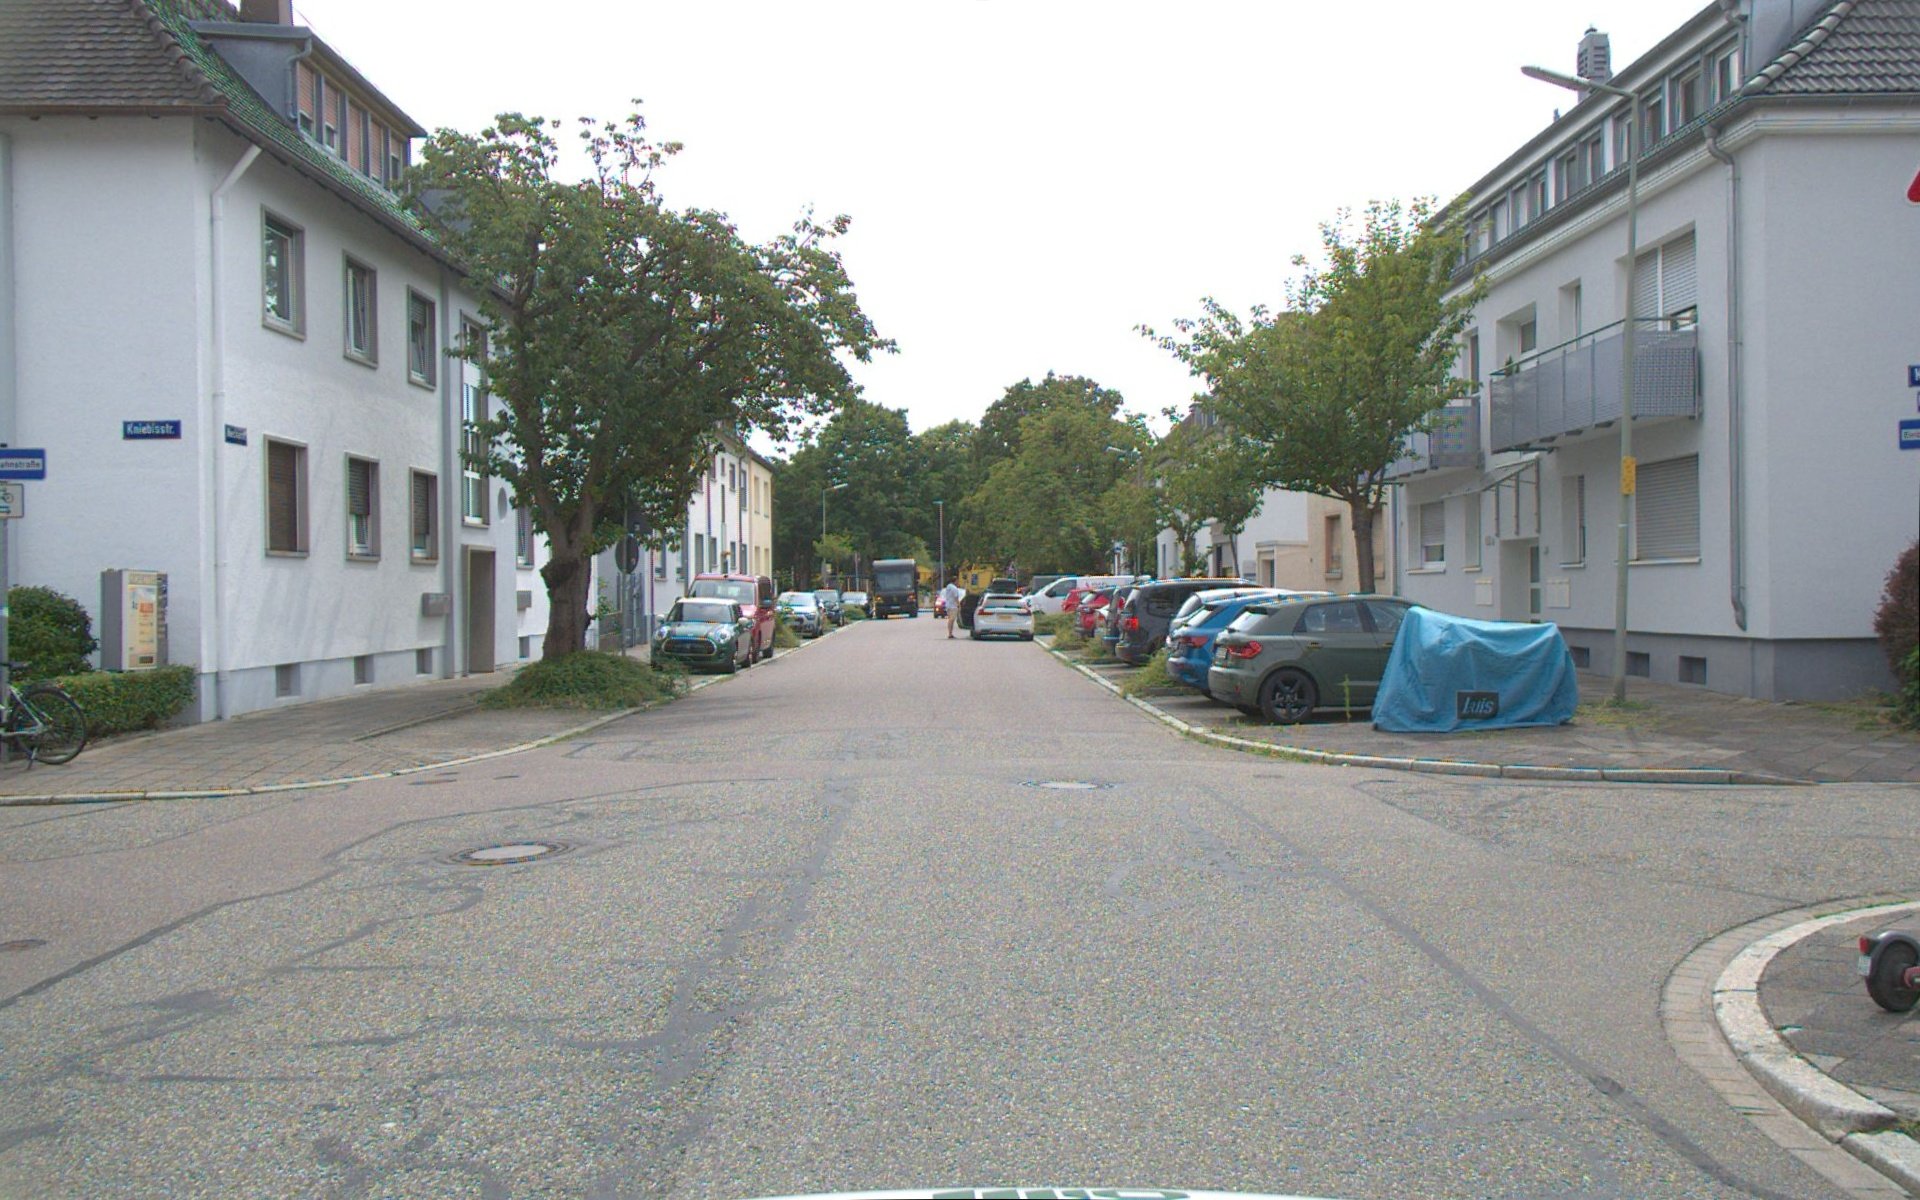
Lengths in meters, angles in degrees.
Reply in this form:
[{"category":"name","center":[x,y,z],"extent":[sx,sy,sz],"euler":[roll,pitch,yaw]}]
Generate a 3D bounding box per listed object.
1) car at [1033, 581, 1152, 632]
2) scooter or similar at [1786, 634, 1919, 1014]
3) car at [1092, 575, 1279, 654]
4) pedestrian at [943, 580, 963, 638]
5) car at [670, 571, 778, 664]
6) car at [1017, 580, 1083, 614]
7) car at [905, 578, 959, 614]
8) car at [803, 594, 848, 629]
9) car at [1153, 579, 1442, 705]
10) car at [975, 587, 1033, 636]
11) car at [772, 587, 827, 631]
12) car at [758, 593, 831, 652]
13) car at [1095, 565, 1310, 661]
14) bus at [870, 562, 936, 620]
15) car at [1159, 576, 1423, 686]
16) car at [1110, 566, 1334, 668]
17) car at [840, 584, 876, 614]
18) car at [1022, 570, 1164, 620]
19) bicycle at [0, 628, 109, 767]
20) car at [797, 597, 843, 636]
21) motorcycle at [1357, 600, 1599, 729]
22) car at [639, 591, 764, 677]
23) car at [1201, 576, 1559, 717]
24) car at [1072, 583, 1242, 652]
[{"category":"car","center":[4.556,0.204,57.161],"extent":[3.906,1.545,1.722],"euler":[-3,0,-1]},{"category":"scooter or similar","center":[3.700,0.758,6.015],"extent":[1.217,1.265,0.421],"euler":[-3,0,-13]},{"category":"car","center":[5.023,0.315,37.137],"extent":[3.906,1.545,1.722],"euler":[-3,0,-1]},{"category":"pedestrian","center":[-0.201,0.276,50.443],"extent":[0.511,1.734,0.445],"euler":[-3,0,3]},{"category":"car","center":[-5.534,0.370,39.288],"extent":[1.953,2.049,4.520],"euler":[-1,0,-1]},{"category":"car","center":[4.851,-0.175,89.704],"extent":[3.457,1.630,1.773],"euler":[-3,0,0]},{"category":"car","center":[-1.339,-0.235,81.625],"extent":[1.951,1.646,4.004],"euler":[-3,0,9]},{"category":"car","center":[-5.738,0.468,70.741],"extent":[1.618,1.401,3.721],"euler":[-3,0,-1]},{"category":"car","center":[4.379,0.531,21.800],"extent":[3.446,1.437,1.558],"euler":[-3,0,0]},{"category":"car","center":[1.335,0.321,51.064],"extent":[1.652,1.377,3.827],"euler":[-3,0,1]},{"category":"car","center":[-5.493,0.298,57.027],"extent":[1.618,1.401,3.720],"euler":[-3,0,-3]},{"category":"car","center":[-4.508,0.588,45.435],"extent":[1.618,1.487,3.552],"euler":[-3,0,-1]},{"category":"car","center":[4.709,0.243,32.534],"extent":[3.905,1.646,1.867],"euler":[-3,0,0]},{"category":"bus","center":[-2.959,-0.477,88.975],"extent":[2.942,2.809,8.926],"euler":[-3,0,1]},{"category":"car","center":[5.334,0.487,27.005],"extent":[3.906,1.545,1.722],"euler":[-3,0,-1]},{"category":"car","center":[4.607,0.285,29.487],"extent":[3.671,1.591,1.773],"euler":[-3,0,0]},{"category":"car","center":[-5.527,-0.068,89.911],"extent":[1.588,1.528,4.000],"euler":[-3,0,1]},{"category":"car","center":[4.736,-0.187,59.527],"extent":[4.875,1.545,1.768],"euler":[-3,0,-2]},{"category":"bicycle","center":[-8.691,0.902,15.028],"extent":[1.601,1.199,0.435],"euler":[-3,0,-5]},{"category":"car","center":[-5.222,0.599,62.091],"extent":[1.508,1.324,3.720],"euler":[-3,0,-3]},{"category":"motorcycle","center":[5.212,0.632,16.748],"extent":[2.149,1.232,0.939],"euler":[-1,0,-2]},{"category":"car","center":[-5.214,0.646,33.810],"extent":[1.726,1.581,3.732],"euler":[-3,0,3]},{"category":"car","center":[4.782,0.508,19.217],"extent":[3.671,1.389,1.773],"euler":[-3,0,0]},{"category":"car","center":[4.771,0.412,40.451],"extent":[3.906,1.463,1.722],"euler":[-3,0,-1]}]
